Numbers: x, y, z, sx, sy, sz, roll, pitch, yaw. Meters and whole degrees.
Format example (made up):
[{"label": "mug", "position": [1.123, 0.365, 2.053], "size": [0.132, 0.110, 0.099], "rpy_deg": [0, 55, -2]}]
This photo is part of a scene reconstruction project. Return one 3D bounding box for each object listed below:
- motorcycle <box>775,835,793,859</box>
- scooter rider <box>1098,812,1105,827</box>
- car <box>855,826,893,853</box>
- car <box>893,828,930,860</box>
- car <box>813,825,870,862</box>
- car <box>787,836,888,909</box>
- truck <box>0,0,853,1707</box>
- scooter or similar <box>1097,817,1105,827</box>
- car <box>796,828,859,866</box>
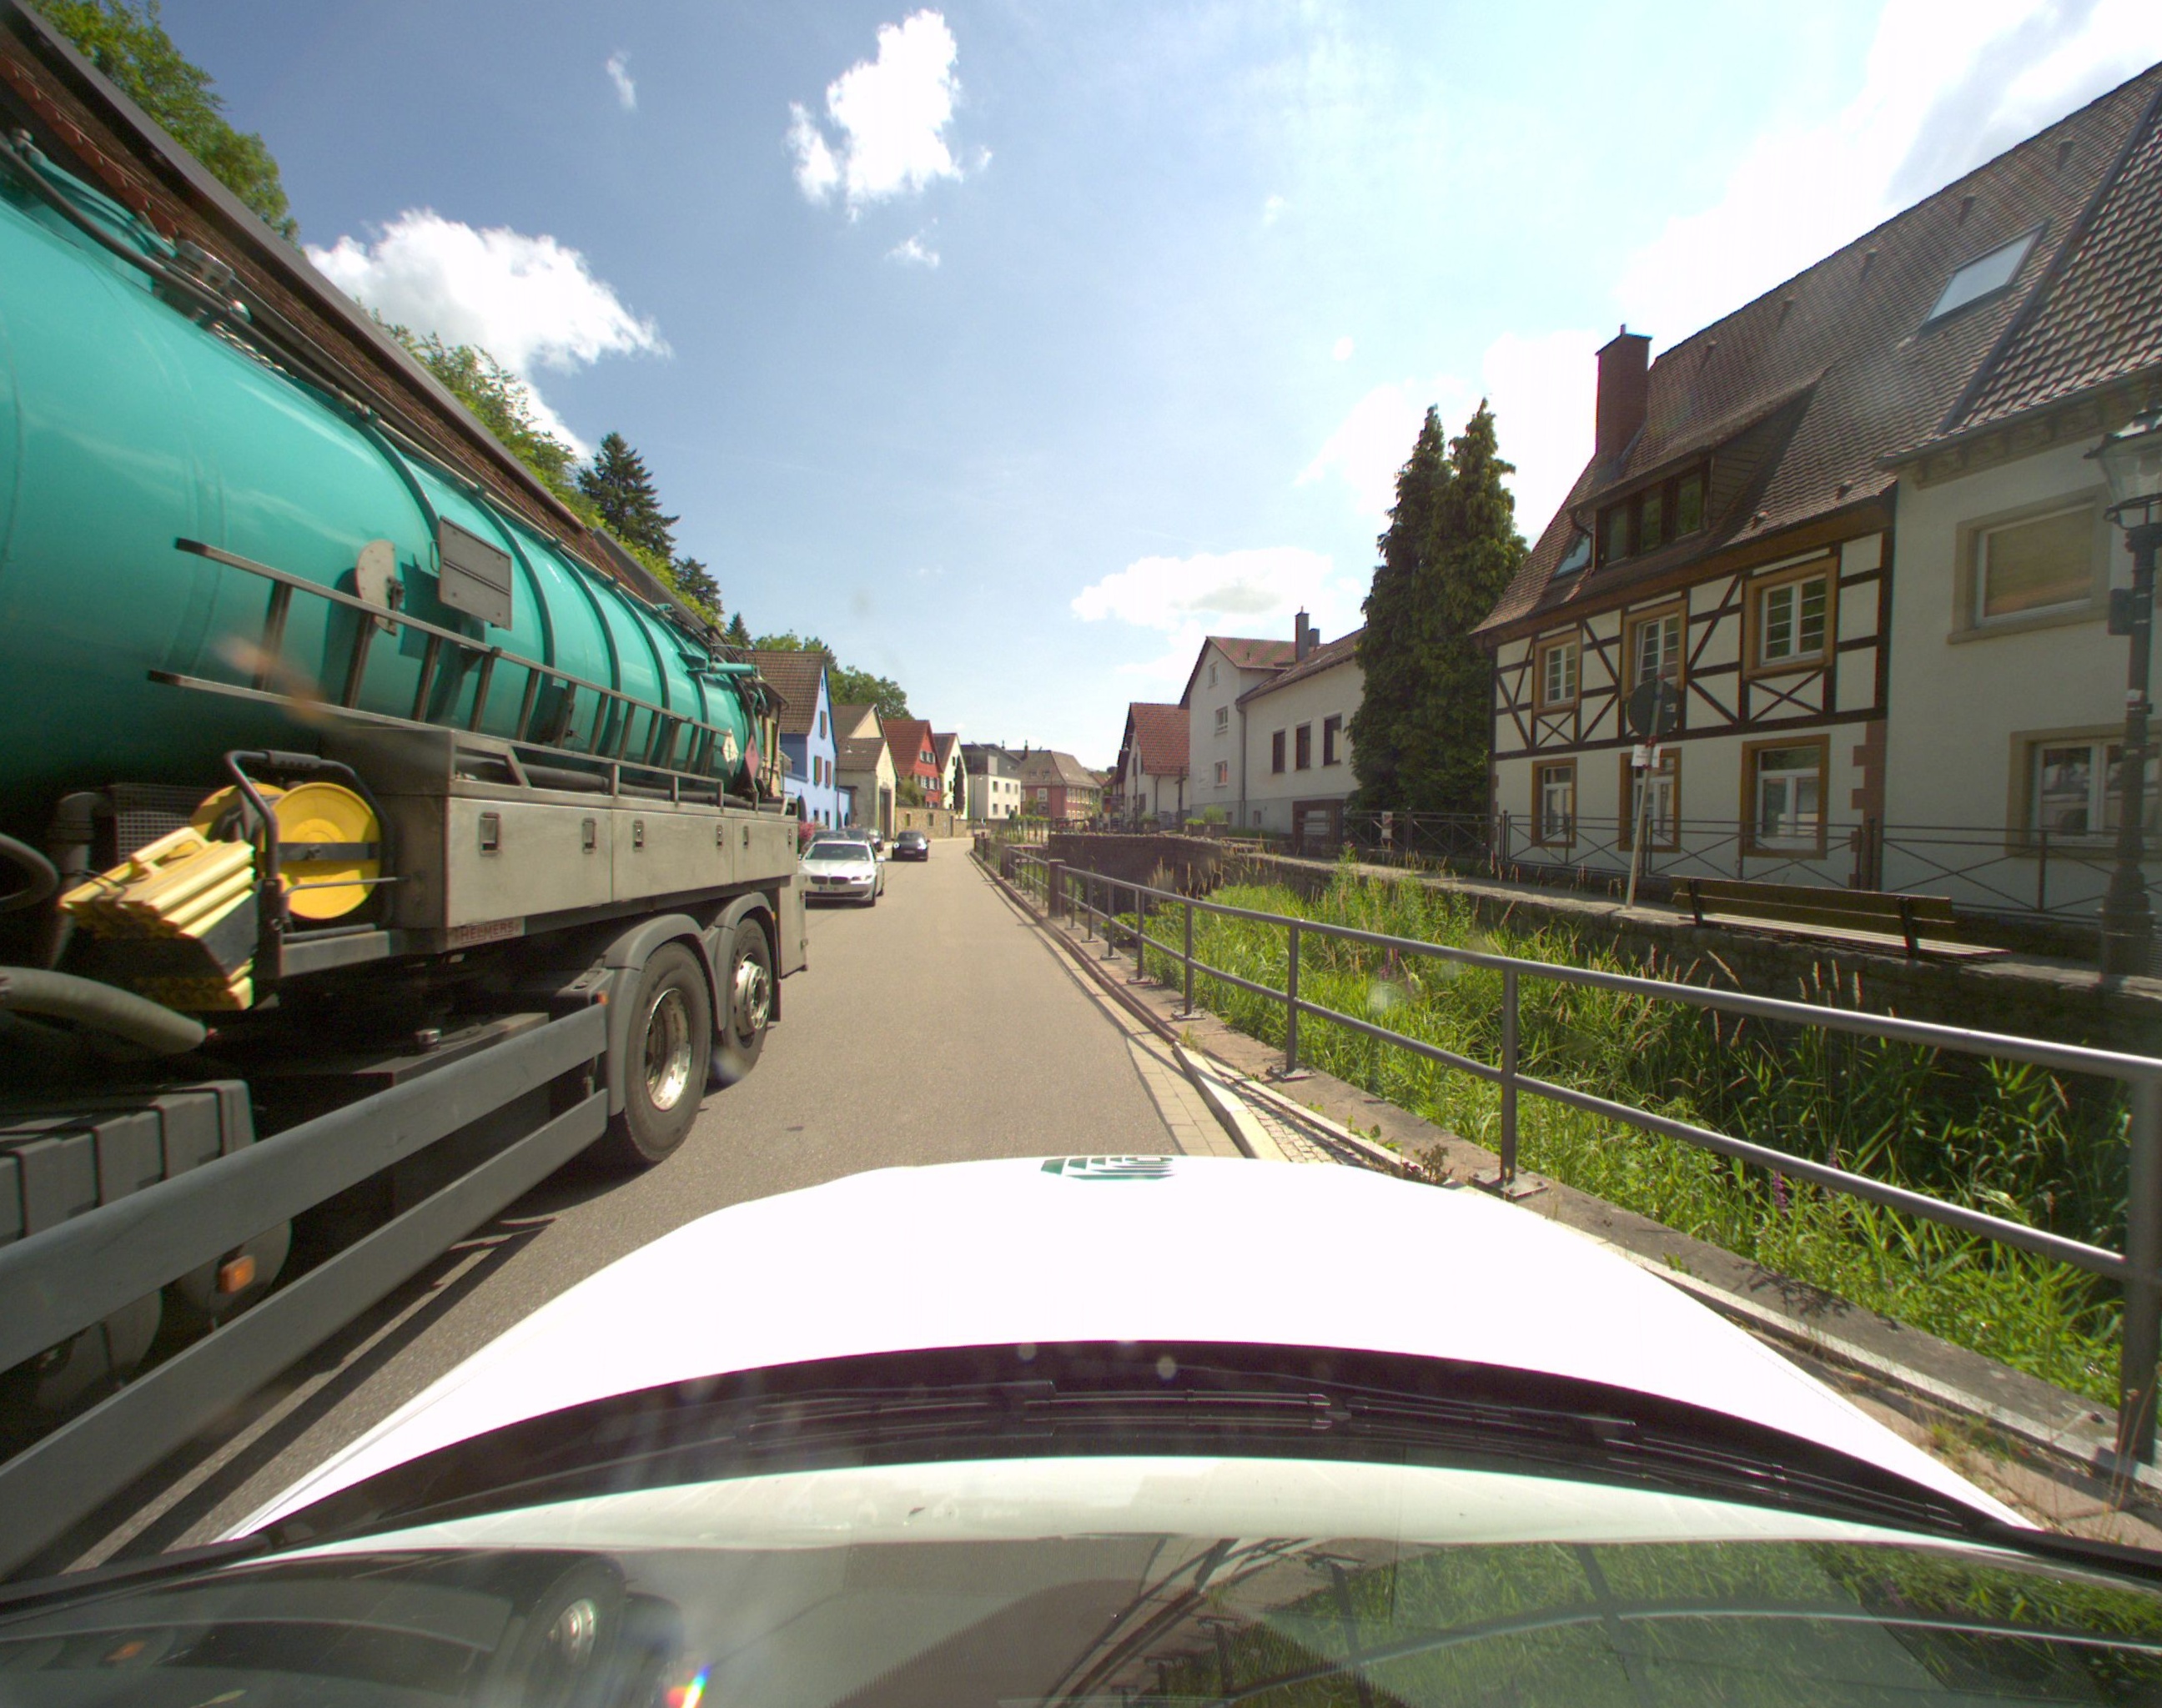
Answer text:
[{"label": "motorcycle", "position": [-13.241, -0.328, 36.343], "size": [0.418, 1.001, 1.851], "rpy_deg": [5, 1, -11]}, {"label": "scooter rider", "position": [2.391, -4.086, 95.914], "size": [0.641, 1.731, 0.552], "rpy_deg": [1, 1, -10]}, {"label": "car", "position": [-12.393, -0.908, 49.029], "size": [1.715, 1.529, 3.848], "rpy_deg": [-1, 2, -7]}, {"label": "car", "position": [-8.359, -0.523, 40.378], "size": [1.699, 1.465, 4.419], "rpy_deg": [-1, 1, -11]}, {"label": "car", "position": [-11.262, -0.541, 38.641], "size": [1.884, 1.463, 4.656], "rpy_deg": [3, 2, -9]}, {"label": "car", "position": [-5.673, 0.350, 19.483], "size": [1.896, 1.500, 4.596], "rpy_deg": [0, 2, -11]}, {"label": "truck", "position": [-3.166, -0.381, 3.415], "size": [2.408, 3.657, 9.551], "rpy_deg": [-2, 1, -5]}, {"label": "scooter or similar", "position": [2.395, -3.808, 95.942], "size": [0.641, 1.142, 1.806], "rpy_deg": [-1, 2, -9]}, {"label": "car", "position": [-10.456, -0.318, 33.897], "size": [1.957, 1.465, 4.529], "rpy_deg": [1, 1, -11]}]
